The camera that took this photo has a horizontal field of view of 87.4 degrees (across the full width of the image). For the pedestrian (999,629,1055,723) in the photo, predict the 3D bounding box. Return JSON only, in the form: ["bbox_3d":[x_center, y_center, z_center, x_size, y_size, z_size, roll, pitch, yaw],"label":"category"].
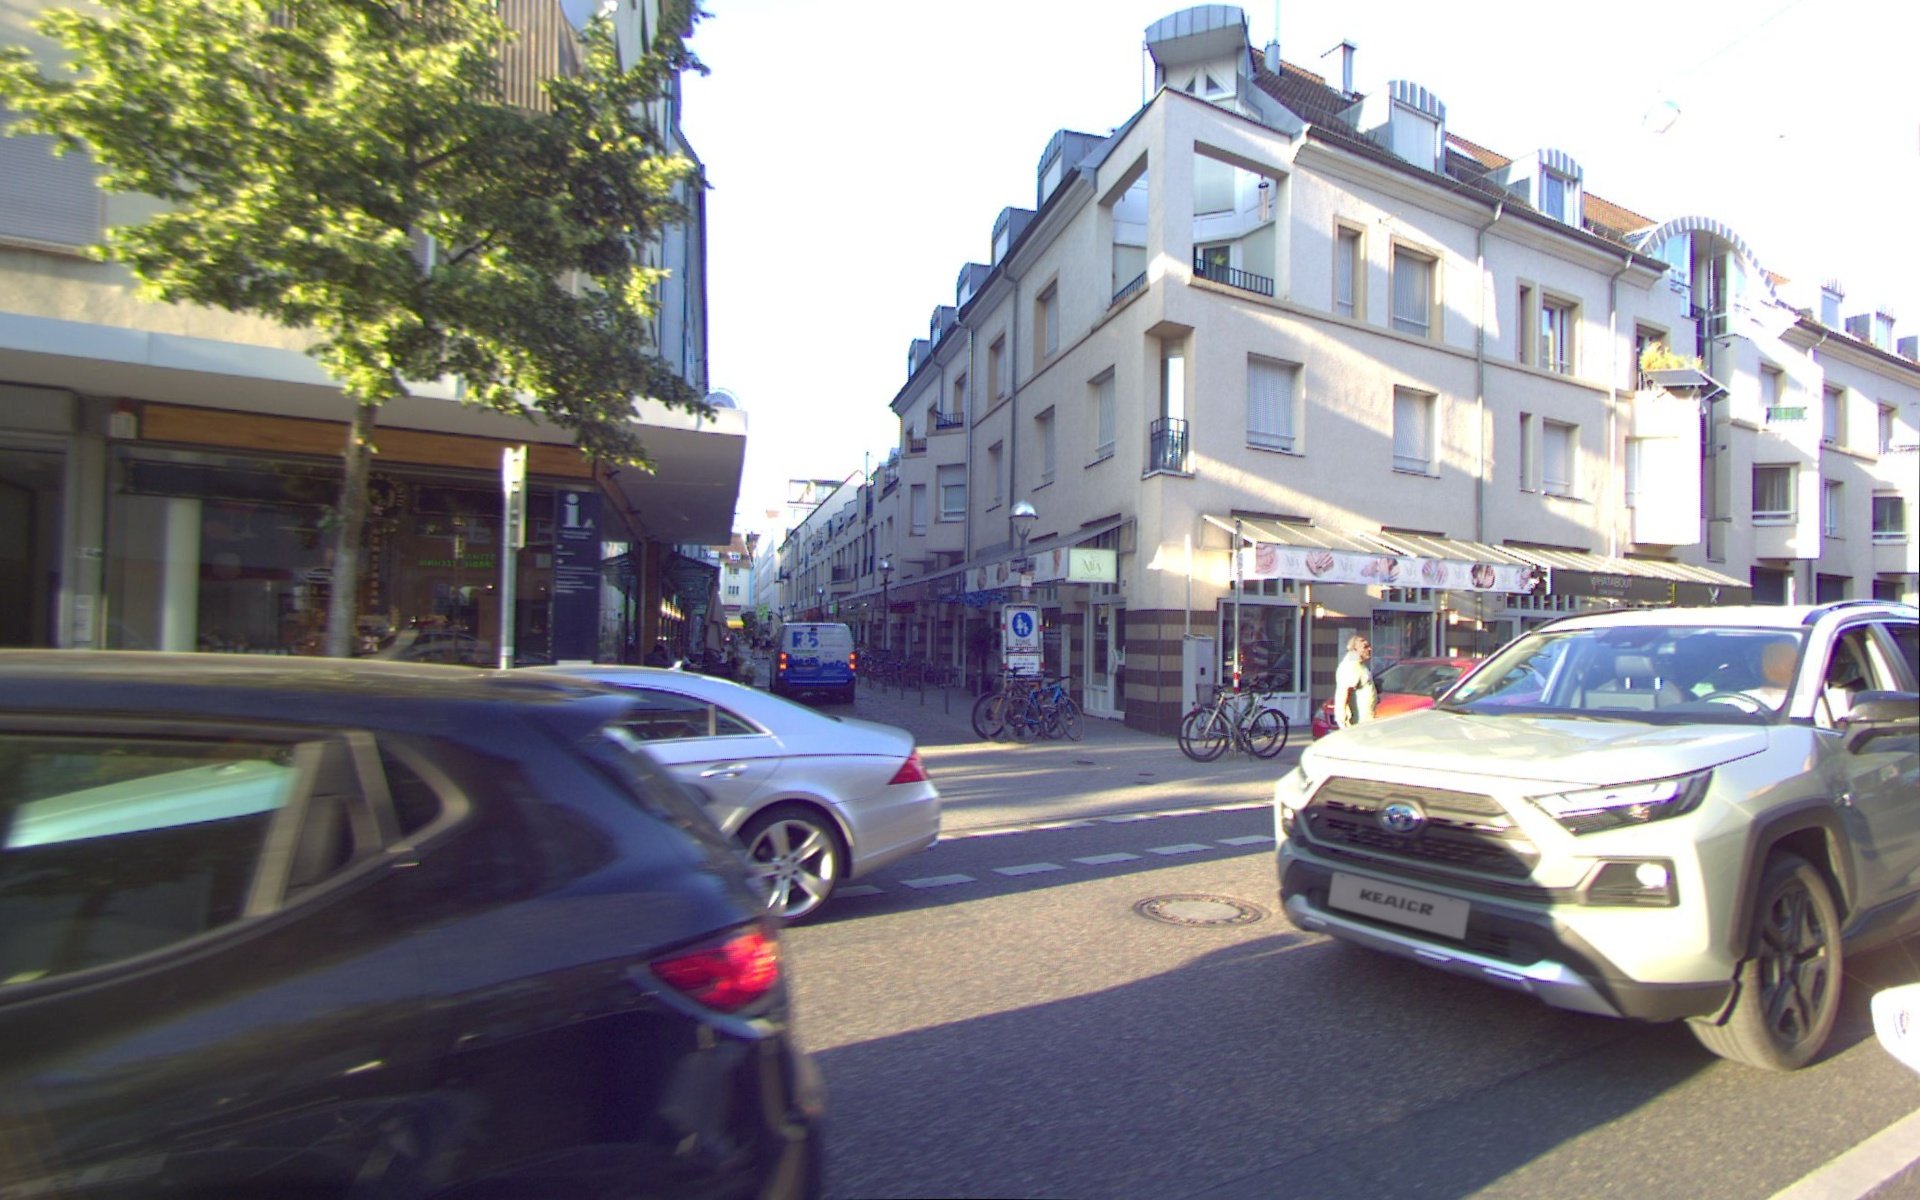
[{"bbox_3d":[1.257,1.423,19.012,0.767,1.698,0.904,2,-1,-16],"label":"pedestrian"}]

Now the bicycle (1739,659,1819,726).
[{"bbox_3d":[18.303,2.054,22.433,2.331,1.393,0.607,3,-1,-31],"label":"bicycle"}]

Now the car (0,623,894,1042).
[{"bbox_3d":[-2.779,0.984,5.297,4.456,1.531,1.985,3,-5,-30],"label":"car"}]

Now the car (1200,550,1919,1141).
[{"bbox_3d":[3.569,0.829,4.917,4.685,1.666,1.931,3,-4,-31],"label":"car"}]

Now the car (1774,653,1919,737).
[{"bbox_3d":[18.437,1.887,20.647,3.155,1.555,1.782,2,-2,-33],"label":"car"}]

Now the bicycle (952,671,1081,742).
[{"bbox_3d":[0.886,1.618,15.366,1.991,1.005,0.487,3,-1,-29],"label":"bicycle"}]

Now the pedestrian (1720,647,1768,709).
[{"bbox_3d":[21.512,2.141,27.561,0.844,1.637,0.714,3,-1,-27],"label":"pedestrian"}]

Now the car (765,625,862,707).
[{"bbox_3d":[-3.784,1.582,25.270,1.966,1.852,4.868,0,-2,-14],"label":"car"}]

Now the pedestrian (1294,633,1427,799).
[{"bbox_3d":[4.349,1.225,10.976,0.976,1.698,0.905,0,-2,-12],"label":"pedestrian"}]

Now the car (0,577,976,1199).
[{"bbox_3d":[-2.311,0.750,1.253,4.412,1.569,1.716,3,-4,-30],"label":"car"}]

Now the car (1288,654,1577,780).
[{"bbox_3d":[6.422,1.504,13.572,3.839,1.421,1.653,3,-1,-30],"label":"car"}]

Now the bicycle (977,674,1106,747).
[{"bbox_3d":[1.231,1.624,14.928,1.994,1.005,0.487,3,-1,-32],"label":"bicycle"}]

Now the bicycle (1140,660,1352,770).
[{"bbox_3d":[3.964,1.524,13.773,3.092,1.317,0.953,3,-1,-32],"label":"bicycle"}]
